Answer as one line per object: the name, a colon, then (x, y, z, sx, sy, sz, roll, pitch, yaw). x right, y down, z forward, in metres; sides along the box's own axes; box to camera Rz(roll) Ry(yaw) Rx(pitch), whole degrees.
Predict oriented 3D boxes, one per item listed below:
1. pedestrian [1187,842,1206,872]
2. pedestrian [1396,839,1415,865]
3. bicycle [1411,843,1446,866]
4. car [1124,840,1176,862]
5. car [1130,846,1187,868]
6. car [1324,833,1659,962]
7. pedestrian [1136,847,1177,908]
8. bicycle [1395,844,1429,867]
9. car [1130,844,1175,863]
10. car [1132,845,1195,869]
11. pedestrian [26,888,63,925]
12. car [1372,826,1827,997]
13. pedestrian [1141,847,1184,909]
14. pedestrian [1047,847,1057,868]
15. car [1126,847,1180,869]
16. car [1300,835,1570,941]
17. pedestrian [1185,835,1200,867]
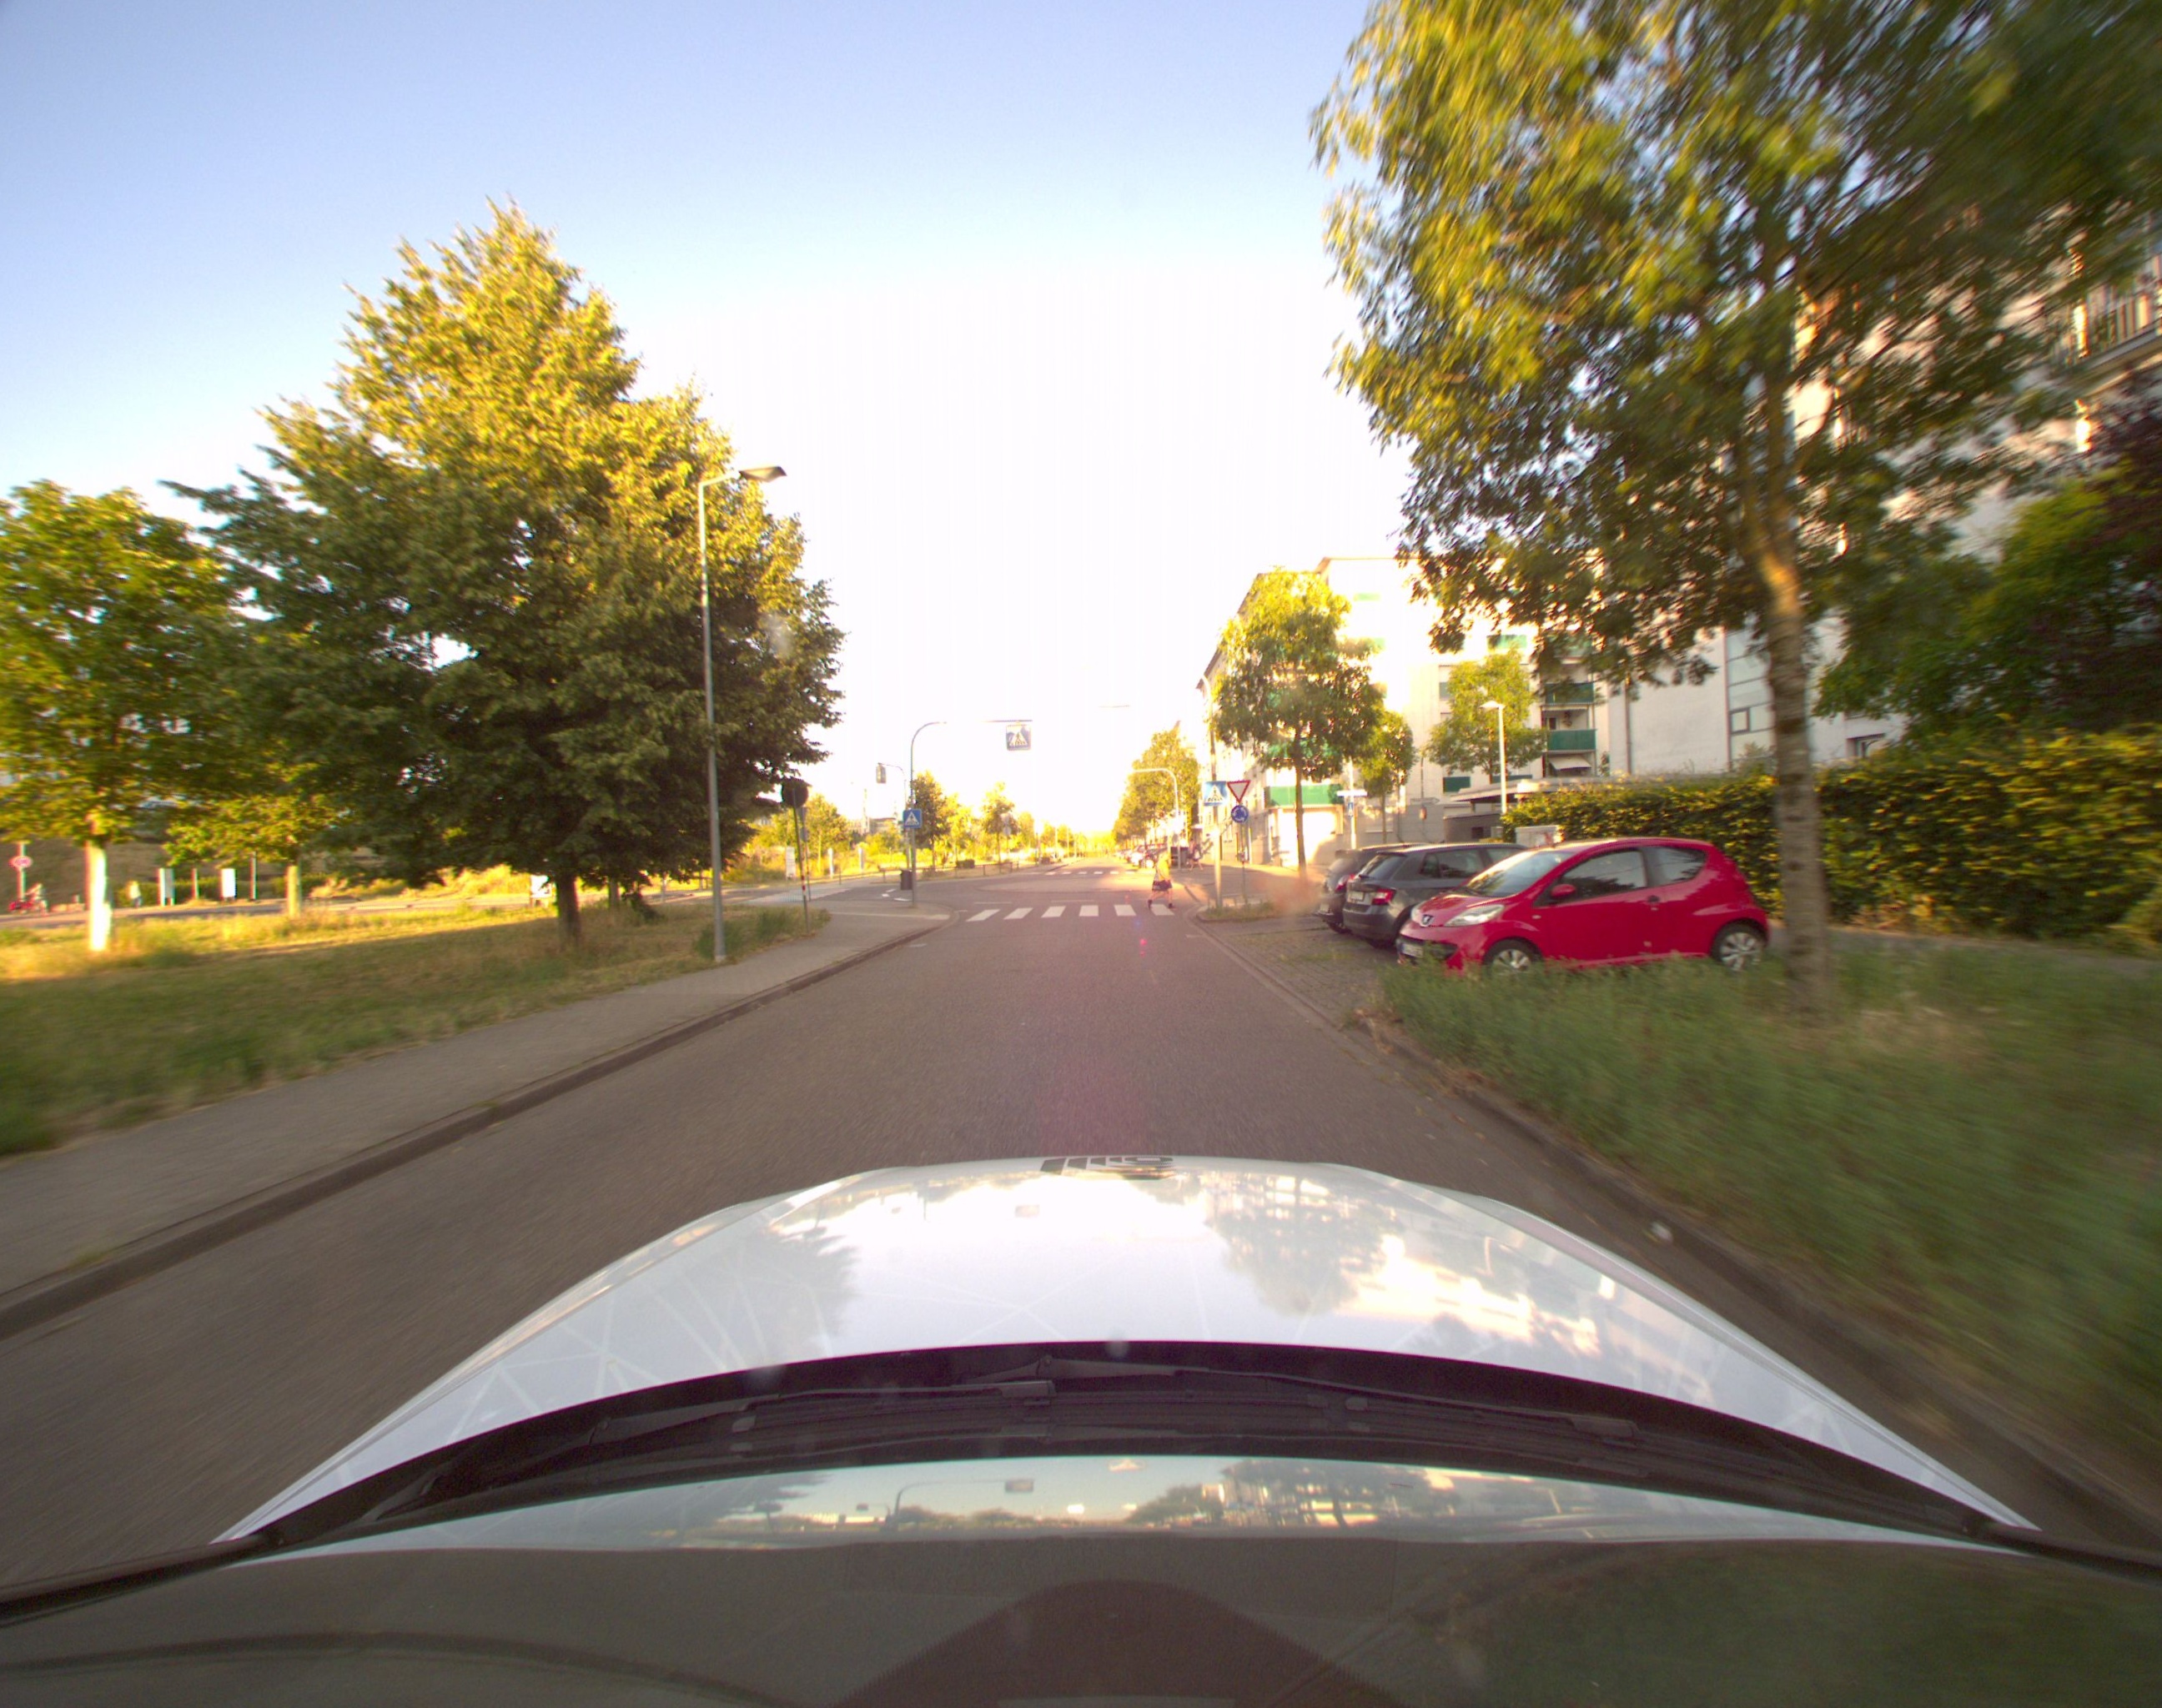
pedestrian: (6.928, 0.167, 48.848, 1.002, 1.788, 0.761, -1, 0, -5)
pedestrian: (17.576, -0.104, 44.136, 0.655, 1.355, 0.802, -2, 0, -2)
bicycle: (18.306, 0.030, 42.943, 0.685, 1.151, 2.521, -2, 0, -1)
car: (6.958, -0.301, 82.311, 4.992, 2.045, 2.248, -2, 0, -3)
car: (6.069, 0.239, 64.299, 4.338, 1.596, 2.001, -2, 0, 2)
car: (5.549, 0.555, 11.334, 3.791, 1.508, 1.678, -2, 0, -1)
pedestrian: (2.207, 0.675, 23.814, 0.983, 1.693, 0.697, -2, 0, -10)
bicycle: (17.590, 0.060, 43.352, 0.694, 1.151, 2.459, -2, 0, -1)
car: (6.915, -0.049, 79.250, 4.249, 1.596, 2.000, -2, 0, 0)
car: (5.946, 0.201, 59.147, 4.467, 1.596, 2.001, -2, 0, 2)
pedestrian: (-53.302, 2.692, 41.883, 0.783, 1.786, 0.815, -2, 0, 4)
car: (5.322, 0.549, 8.716, 3.791, 1.508, 1.678, -2, 0, -1)
pedestrian: (2.302, 0.678, 23.122, 1.018, 1.693, 0.757, -2, 0, -10)
pedestrian: (-2.811, 0.356, 79.528, 0.866, 2.013, 0.787, -2, 0, -9)
car: (5.900, 0.313, 67.036, 4.246, 1.596, 2.001, -2, 0, 2)
car: (5.818, 0.558, 13.742, 3.788, 1.508, 1.680, -3, -1, 2)
pedestrian: (7.190, -0.170, 52.583, 0.842, 2.013, 0.945, -2, 0, 7)
